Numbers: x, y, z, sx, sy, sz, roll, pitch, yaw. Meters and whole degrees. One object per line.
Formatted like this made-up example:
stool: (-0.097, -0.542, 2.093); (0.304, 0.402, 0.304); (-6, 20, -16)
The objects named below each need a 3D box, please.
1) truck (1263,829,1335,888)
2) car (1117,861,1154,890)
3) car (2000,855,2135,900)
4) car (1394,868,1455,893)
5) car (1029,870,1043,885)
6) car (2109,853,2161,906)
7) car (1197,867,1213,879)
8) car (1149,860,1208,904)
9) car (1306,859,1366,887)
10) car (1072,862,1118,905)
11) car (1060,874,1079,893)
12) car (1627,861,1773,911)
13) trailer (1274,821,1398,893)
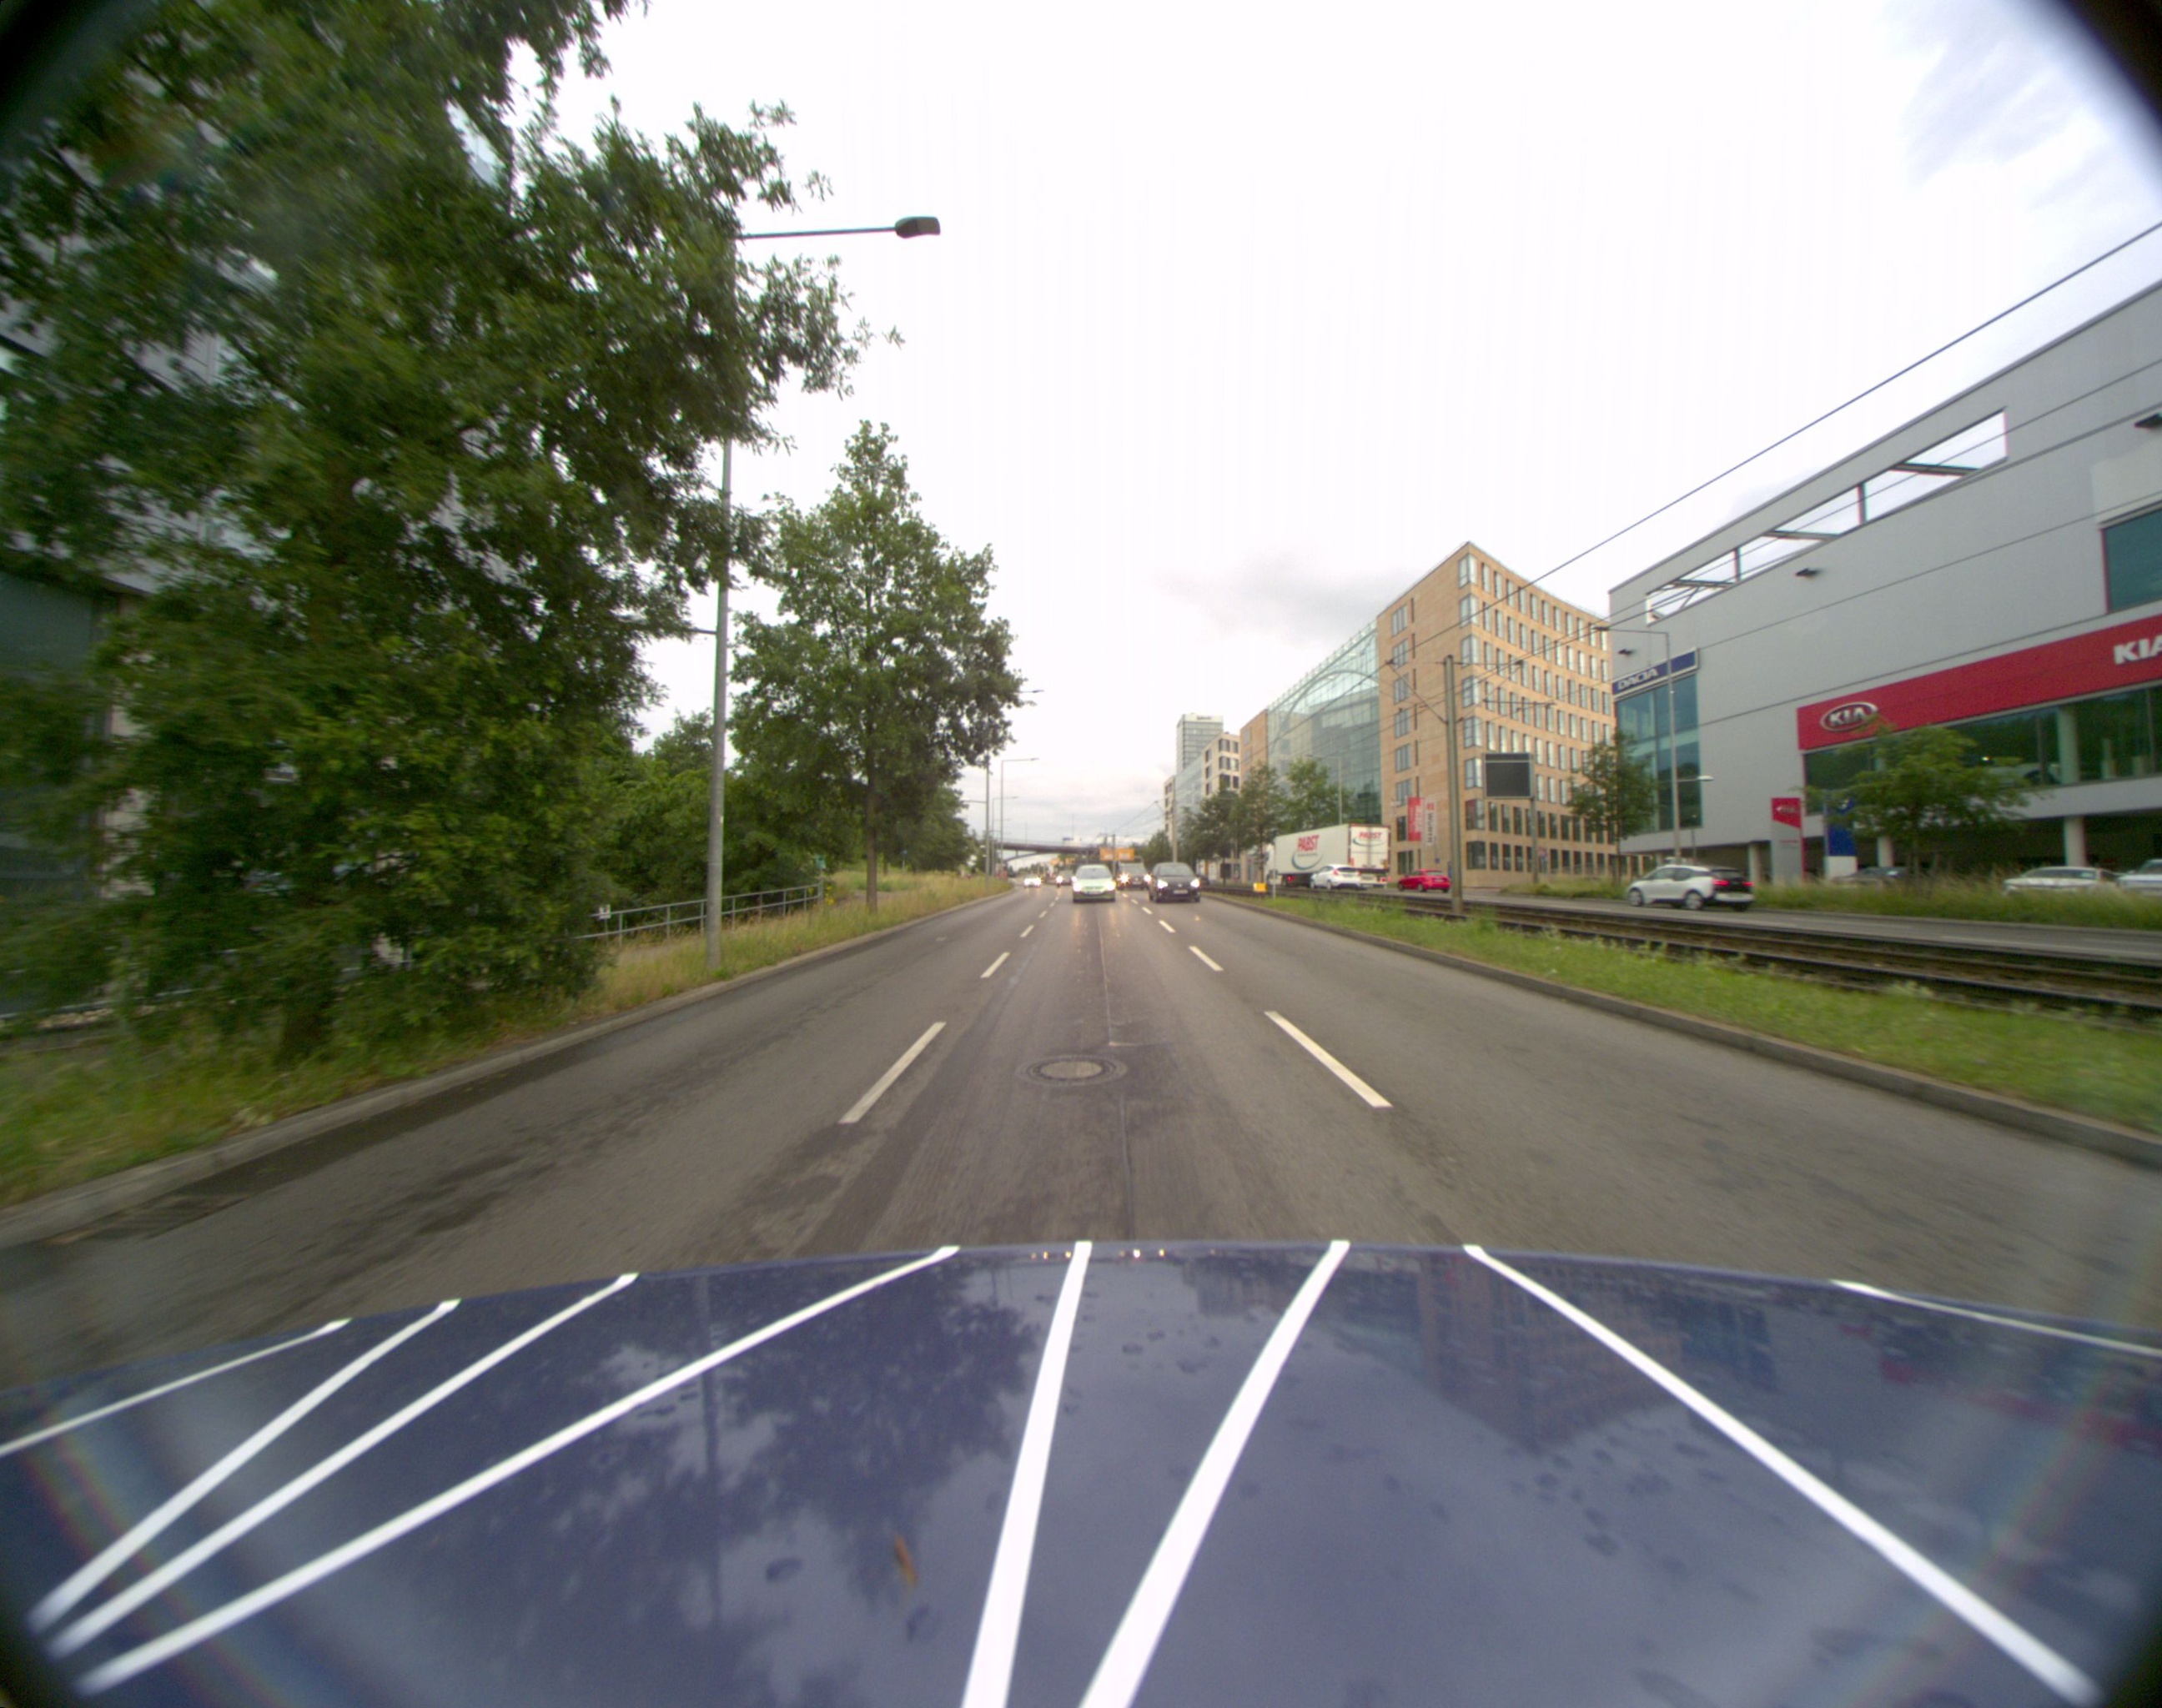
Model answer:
truck: (16.665, 0.365, 58.740); (3.144, 4.218, 7.027); (2, 0, -3)
car: (3.236, 1.239, 45.942); (1.786, 1.597, 4.317); (-2, 0, -1)
car: (31.741, 0.734, 24.451); (3.668, 1.181, 1.696); (-4, 0, -22)
car: (20.733, 1.589, 46.008); (1.688, 1.361, 4.024); (-1, 0, -3)
car: (-5.037, 2.626, 84.600); (1.518, 1.495, 3.167); (-1, 0, -4)
car: (31.757, 0.701, 21.846); (3.668, 1.287, 1.696); (-4, 0, -21)
car: (17.005, 2.610, 104.484); (1.630, 1.608, 4.001); (-1, 0, 3)
car: (3.652, 1.007, 29.117); (1.704, 1.523, 3.826); (-1, 0, 0)
car: (14.296, 1.037, 42.825); (1.689, 1.428, 4.098); (1, 0, -4)
car: (0.568, 1.152, 30.840); (1.704, 1.523, 4.371); (-2, 0, 1)
car: (-1.205, 2.923, 75.314); (1.759, 1.649, 4.337); (-1, 0, -2)
car: (21.561, 1.069, 26.695); (1.688, 1.571, 4.099); (-1, 0, -2)
trailer: (17.143, 0.229, 52.559); (3.143, 4.303, 13.276); (2, 0, -4)
